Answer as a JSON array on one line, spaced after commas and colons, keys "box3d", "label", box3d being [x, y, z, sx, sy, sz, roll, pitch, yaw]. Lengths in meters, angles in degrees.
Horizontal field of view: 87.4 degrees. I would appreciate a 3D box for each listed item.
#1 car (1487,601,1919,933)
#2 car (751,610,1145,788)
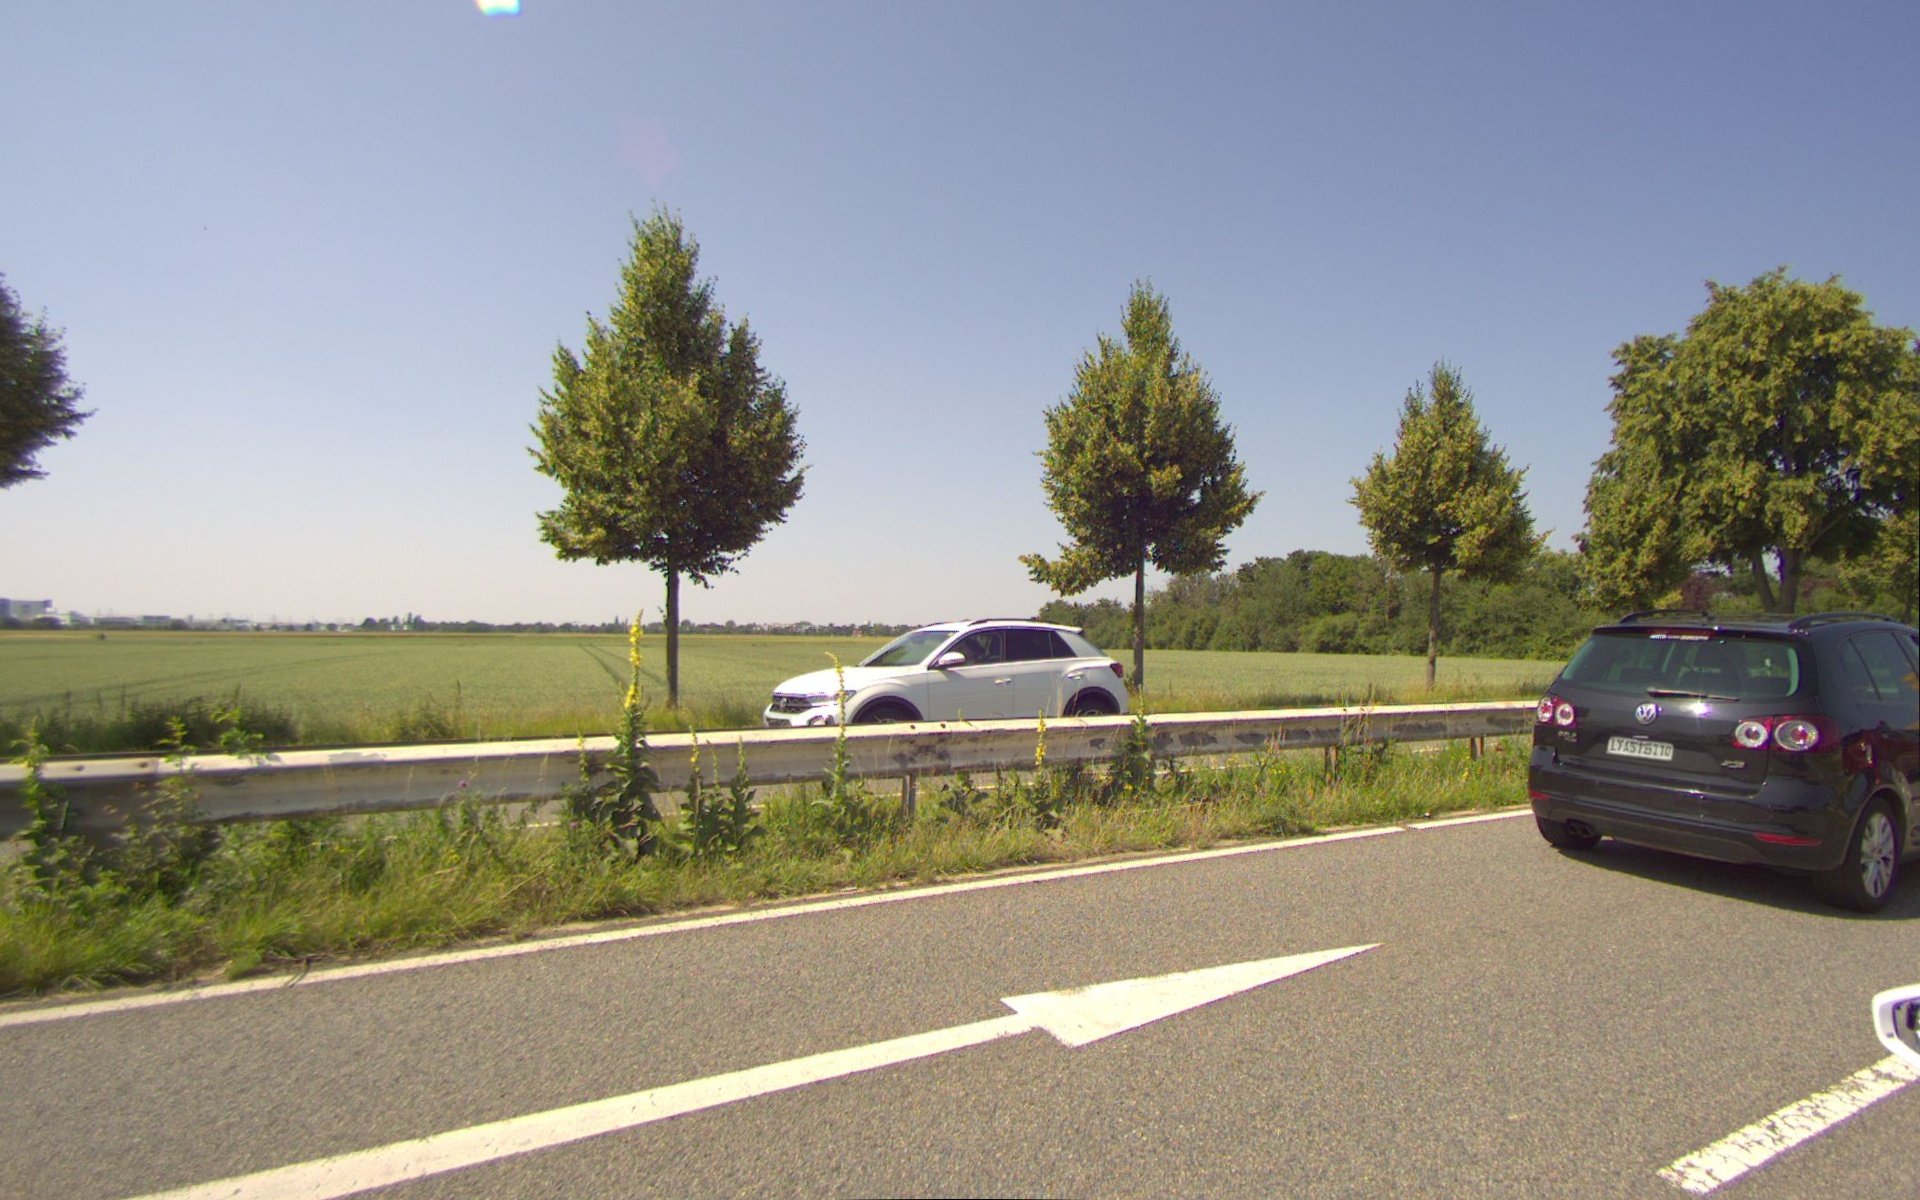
[{"box3d": [5.431, 0.850, 6.552, 3.845, 1.596, 1.716, 1, 0, -29], "label": "car"}, {"box3d": [-0.060, 0.981, 11.124, 4.090, 1.639, 1.736, 1, -2, -32], "label": "car"}]
